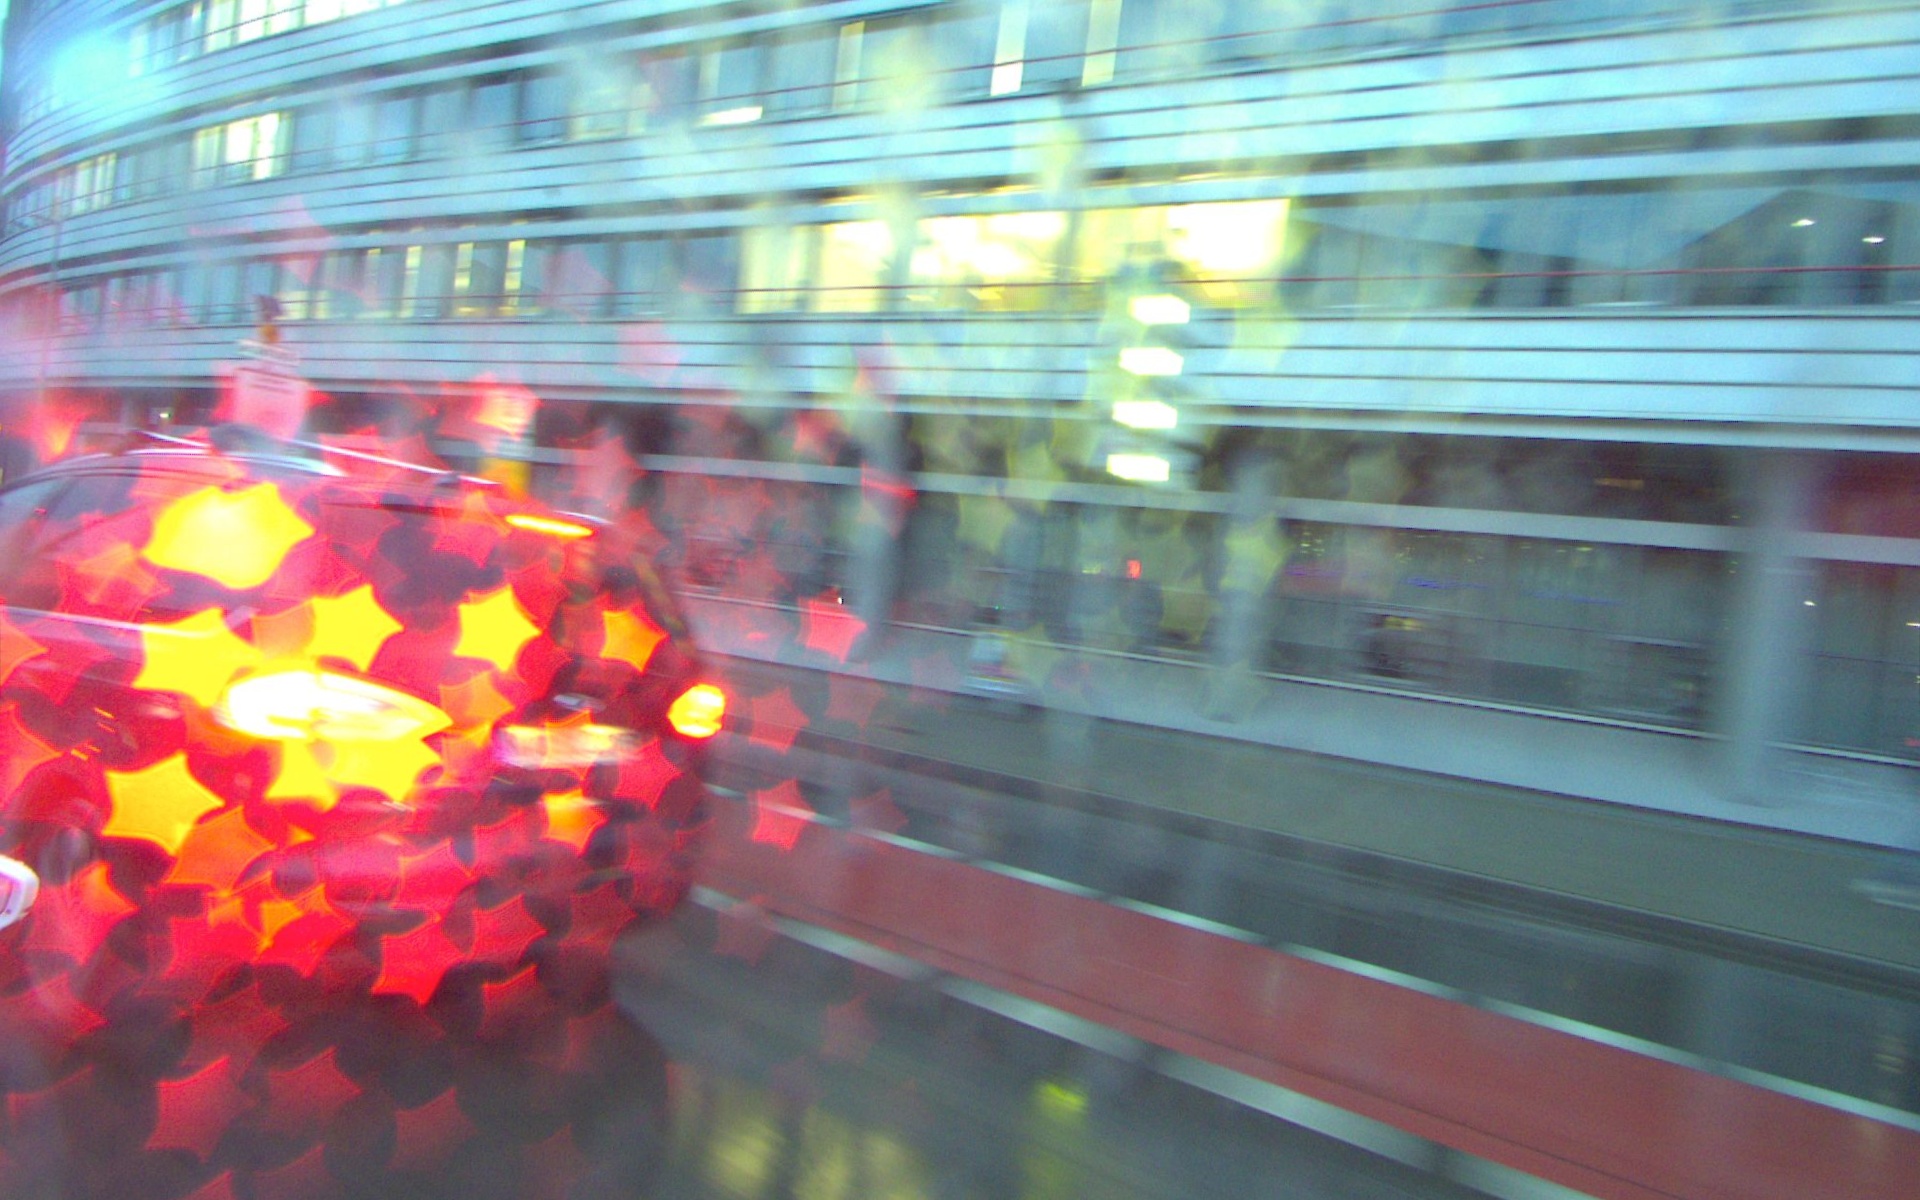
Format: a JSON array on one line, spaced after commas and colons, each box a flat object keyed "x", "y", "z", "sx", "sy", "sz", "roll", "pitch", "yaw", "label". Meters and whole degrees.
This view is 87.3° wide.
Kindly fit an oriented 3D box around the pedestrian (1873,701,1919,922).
[{"x": 8.115, "y": 1.730, "z": 7.939, "sx": 1.051, "sy": 1.706, "sz": 0.794, "roll": 7, "pitch": 0, "yaw": 32, "label": "pedestrian"}]

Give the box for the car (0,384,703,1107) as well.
[{"x": -3.201, "y": 0.224, "z": 4.214, "sx": 3.933, "sy": 1.801, "sz": 1.676, "roll": 7, "pitch": 0, "yaw": 31, "label": "car"}]

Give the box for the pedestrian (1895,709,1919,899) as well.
[{"x": 8.968, "y": 1.845, "z": 8.784, "sx": 0.887, "sy": 1.645, "sz": 0.727, "roll": 7, "pitch": 0, "yaw": 32, "label": "pedestrian"}]
